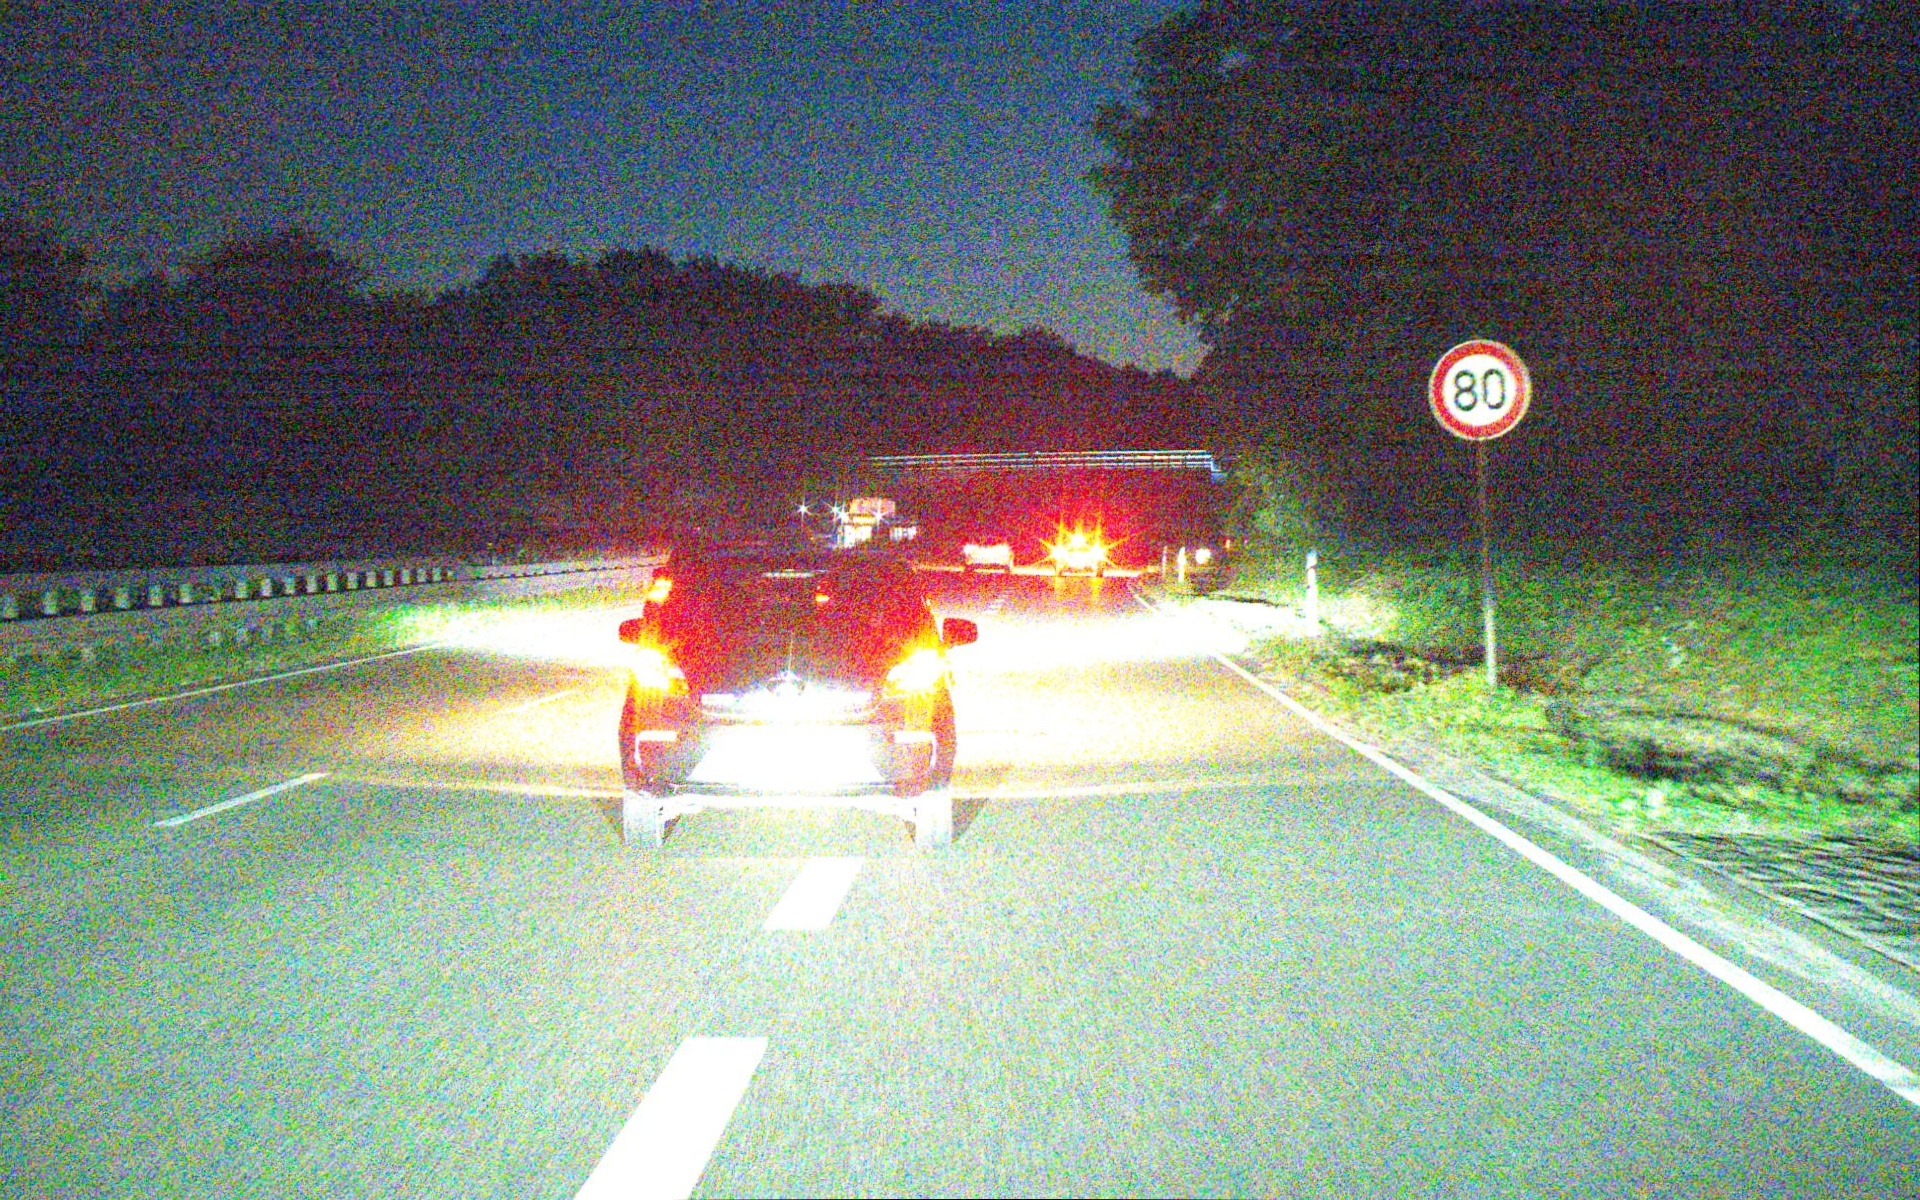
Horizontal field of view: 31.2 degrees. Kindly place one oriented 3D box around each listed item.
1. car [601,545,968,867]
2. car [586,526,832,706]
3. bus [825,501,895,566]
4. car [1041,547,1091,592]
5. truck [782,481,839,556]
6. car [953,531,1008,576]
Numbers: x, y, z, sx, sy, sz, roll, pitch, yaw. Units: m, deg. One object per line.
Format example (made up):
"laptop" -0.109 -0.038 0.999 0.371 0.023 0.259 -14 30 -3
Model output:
"car" -0.915 0.464 18.013 1.691 1.473 4.001 1 1 -3
"car" -2.361 0.096 33.455 1.940 1.603 4.643 1 1 1
"bus" -5.346 -3.655 185.757 2.924 3.376 12.307 0 2 2
"car" 3.901 -1.126 126.872 1.733 1.612 3.798 0 1 0
"truck" -8.461 -4.641 195.468 2.676 4.163 5.868 0 1 3
"car" 0.830 -1.805 133.889 1.951 1.533 4.241 -4 -1 1
